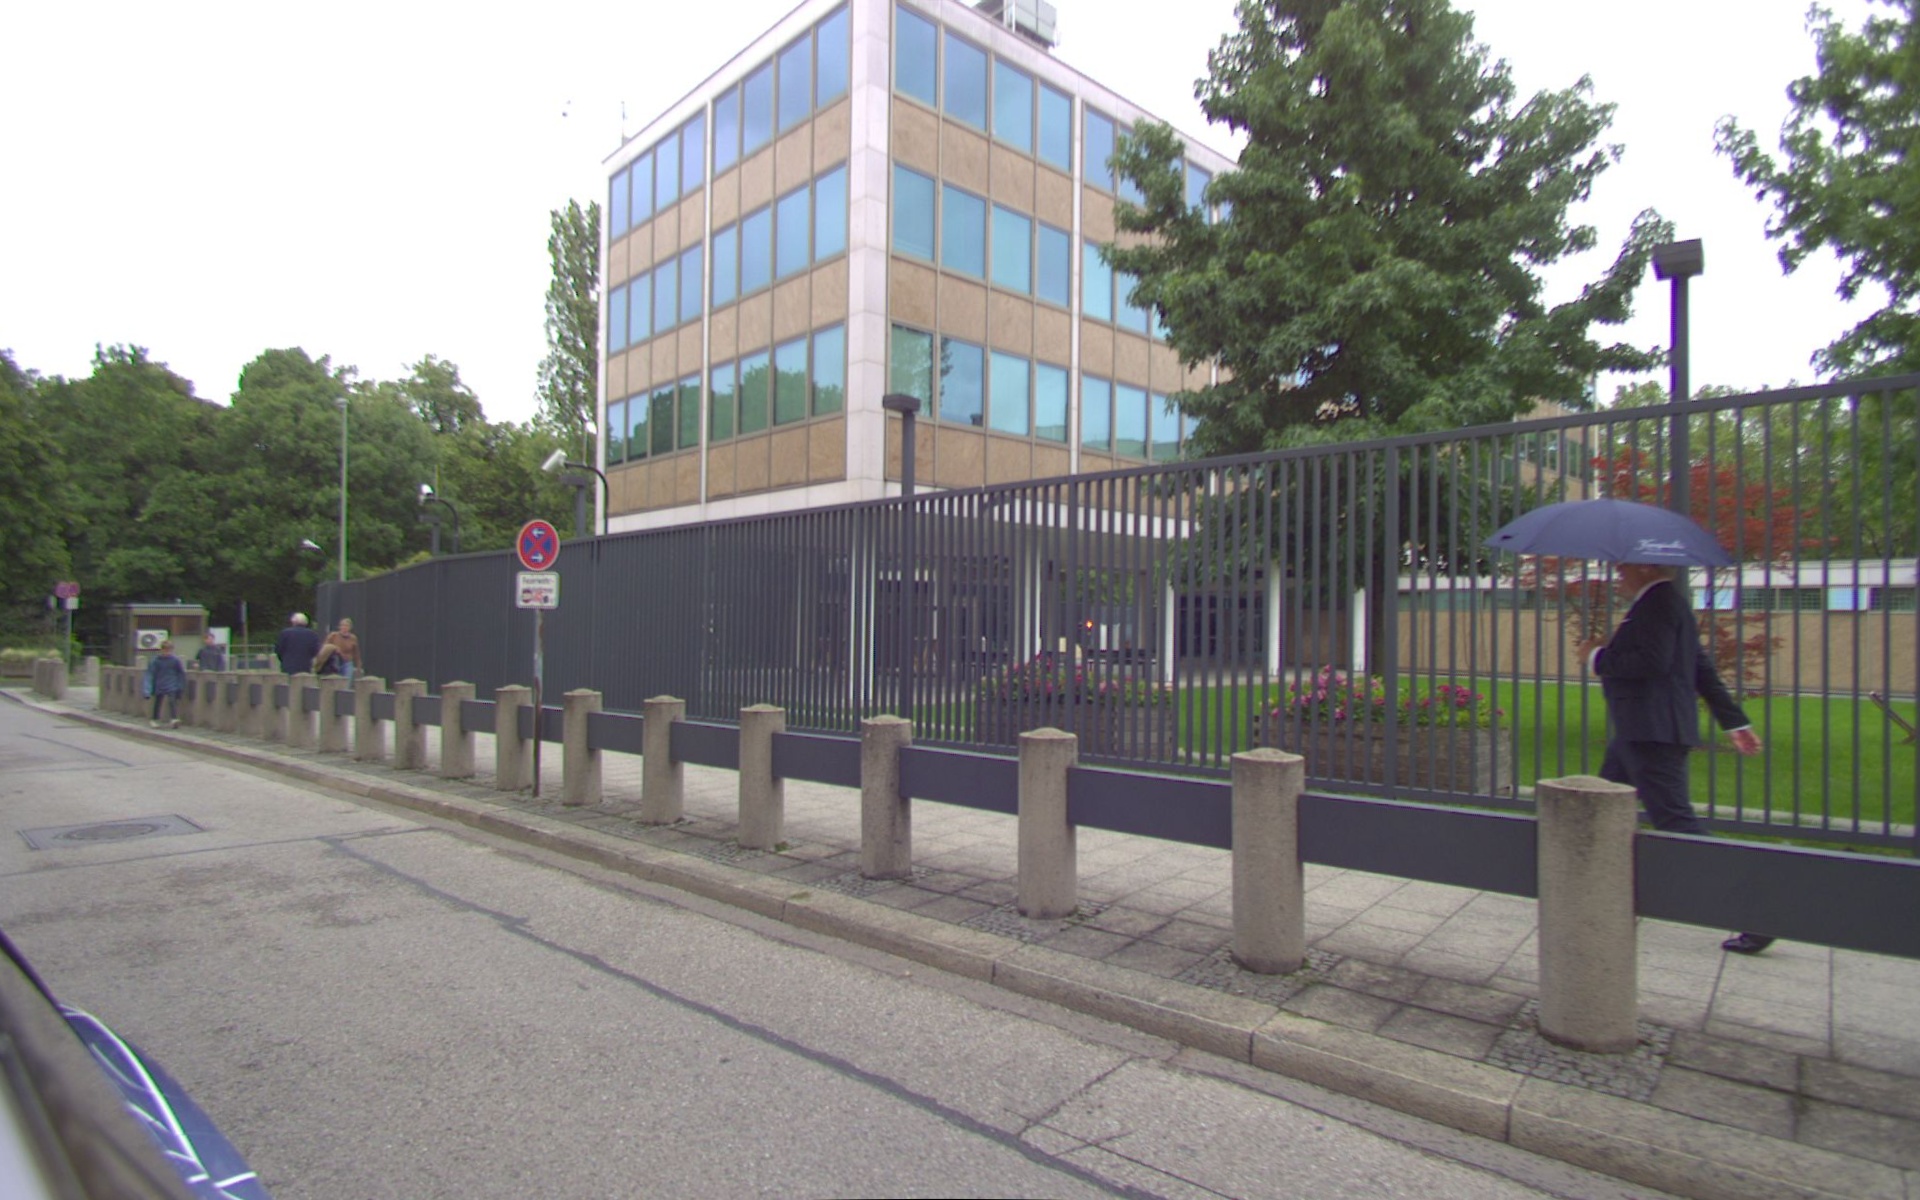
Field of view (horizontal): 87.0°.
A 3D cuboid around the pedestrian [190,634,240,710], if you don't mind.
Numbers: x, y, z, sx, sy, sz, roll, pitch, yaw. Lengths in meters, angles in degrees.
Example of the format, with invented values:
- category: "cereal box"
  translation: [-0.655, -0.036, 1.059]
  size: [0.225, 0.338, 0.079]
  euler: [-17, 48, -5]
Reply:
- category: "pedestrian"
  translation: [-15.810, 1.510, 21.470]
  size: [0.767, 1.551, 0.934]
  euler: [-1, -1, -41]

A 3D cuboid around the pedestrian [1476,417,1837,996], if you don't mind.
- category: "pedestrian"
  translation: [3.133, 0.412, 4.551]
  size: [1.116, 2.120, 1.209]
  euler: [-3, -3, 43]

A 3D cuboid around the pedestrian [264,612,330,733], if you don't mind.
- category: "pedestrian"
  translation: [-10.141, 1.088, 15.478]
  size: [0.766, 1.782, 0.617]
  euler: [-2, -3, 41]

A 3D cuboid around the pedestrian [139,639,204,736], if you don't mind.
- category: "pedestrian"
  translation: [-12.629, 1.374, 16.198]
  size: [1.078, 1.478, 0.631]
  euler: [-2, -1, 42]

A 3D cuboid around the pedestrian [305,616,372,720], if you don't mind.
- category: "pedestrian"
  translation: [-10.886, 1.162, 17.730]
  size: [0.814, 1.736, 0.906]
  euler: [-1, -1, -44]
